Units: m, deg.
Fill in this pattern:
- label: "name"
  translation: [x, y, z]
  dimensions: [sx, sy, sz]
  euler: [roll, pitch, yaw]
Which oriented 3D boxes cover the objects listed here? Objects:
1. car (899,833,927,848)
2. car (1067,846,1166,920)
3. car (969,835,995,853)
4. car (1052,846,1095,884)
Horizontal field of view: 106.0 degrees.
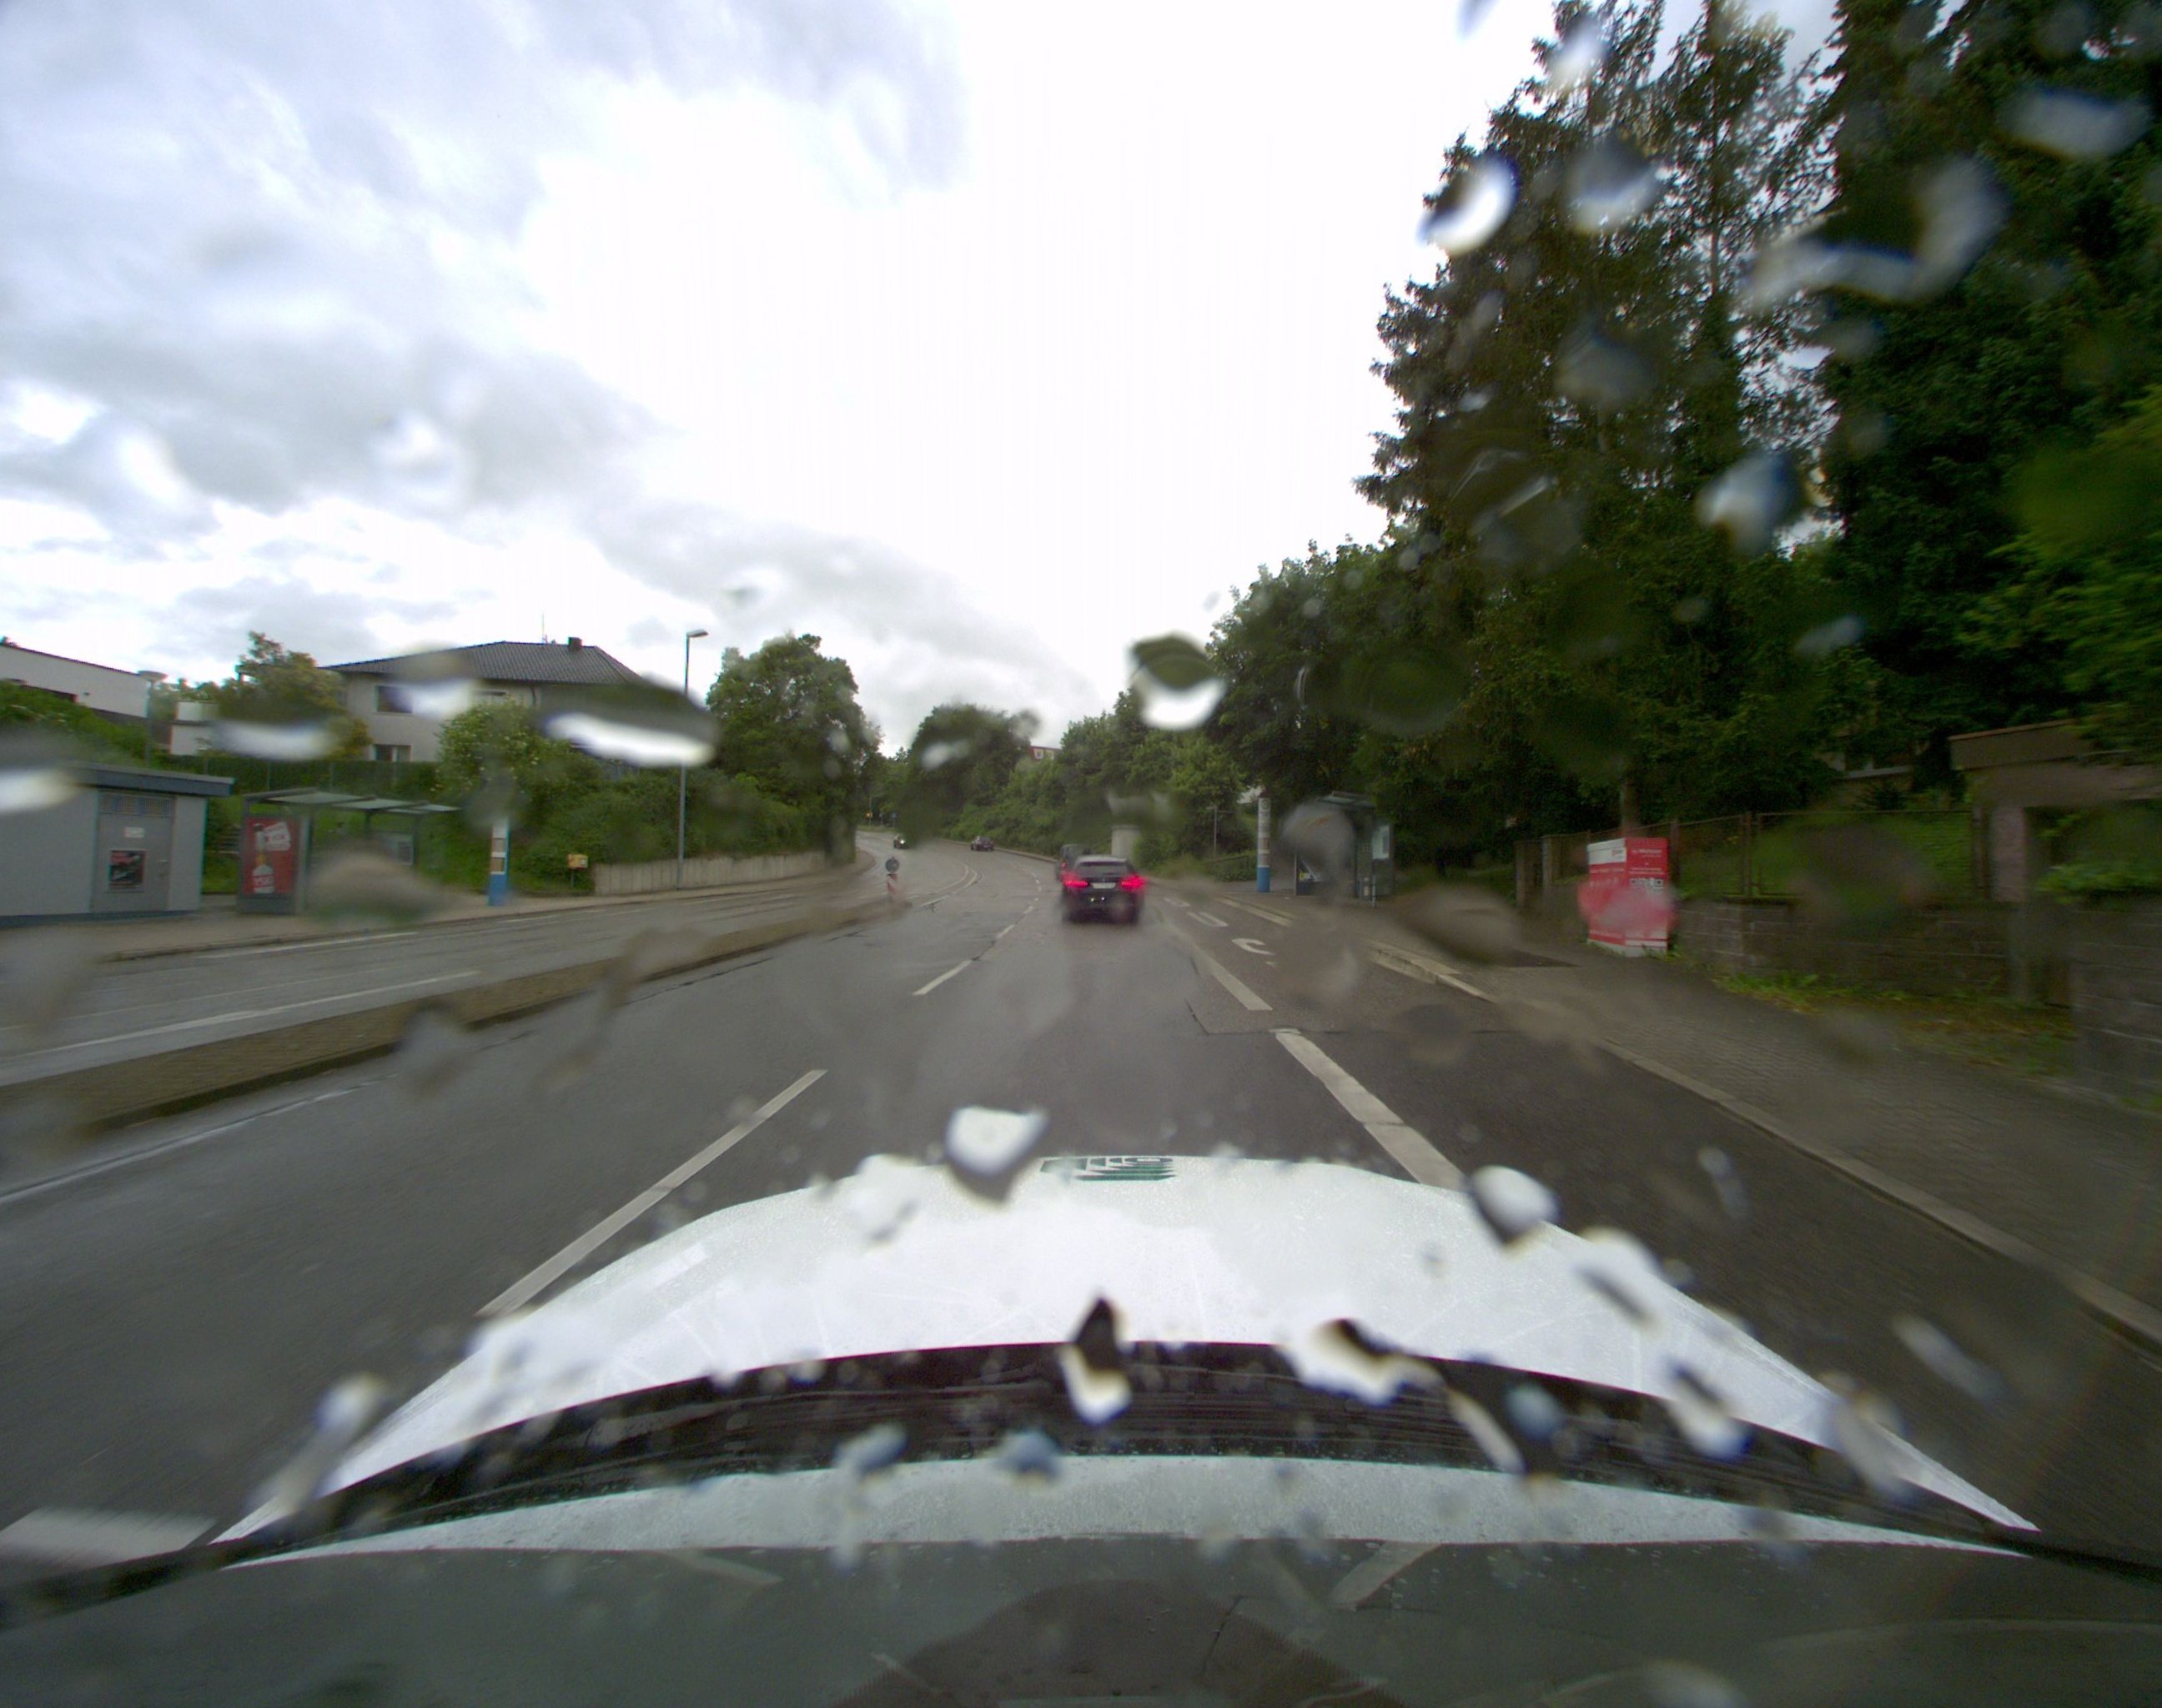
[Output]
- label: "car"
  translation: [-17.289, -1.358, 83.658]
  dimensions: [1.901, 1.487, 4.199]
  euler: [-1, 0, -25]
- label: "car"
  translation: [0.741, 0.759, 19.917]
  dimensions: [1.989, 1.587, 4.656]
  euler: [1, -3, -3]
- label: "car"
  translation: [-10.050, -0.980, 82.517]
  dimensions: [1.857, 1.662, 3.974]
  euler: [1, -1, -19]
- label: "car"
  translation: [-0.428, 0.522, 41.178]
  dimensions: [1.989, 1.748, 3.995]
  euler: [0, 2, -4]
